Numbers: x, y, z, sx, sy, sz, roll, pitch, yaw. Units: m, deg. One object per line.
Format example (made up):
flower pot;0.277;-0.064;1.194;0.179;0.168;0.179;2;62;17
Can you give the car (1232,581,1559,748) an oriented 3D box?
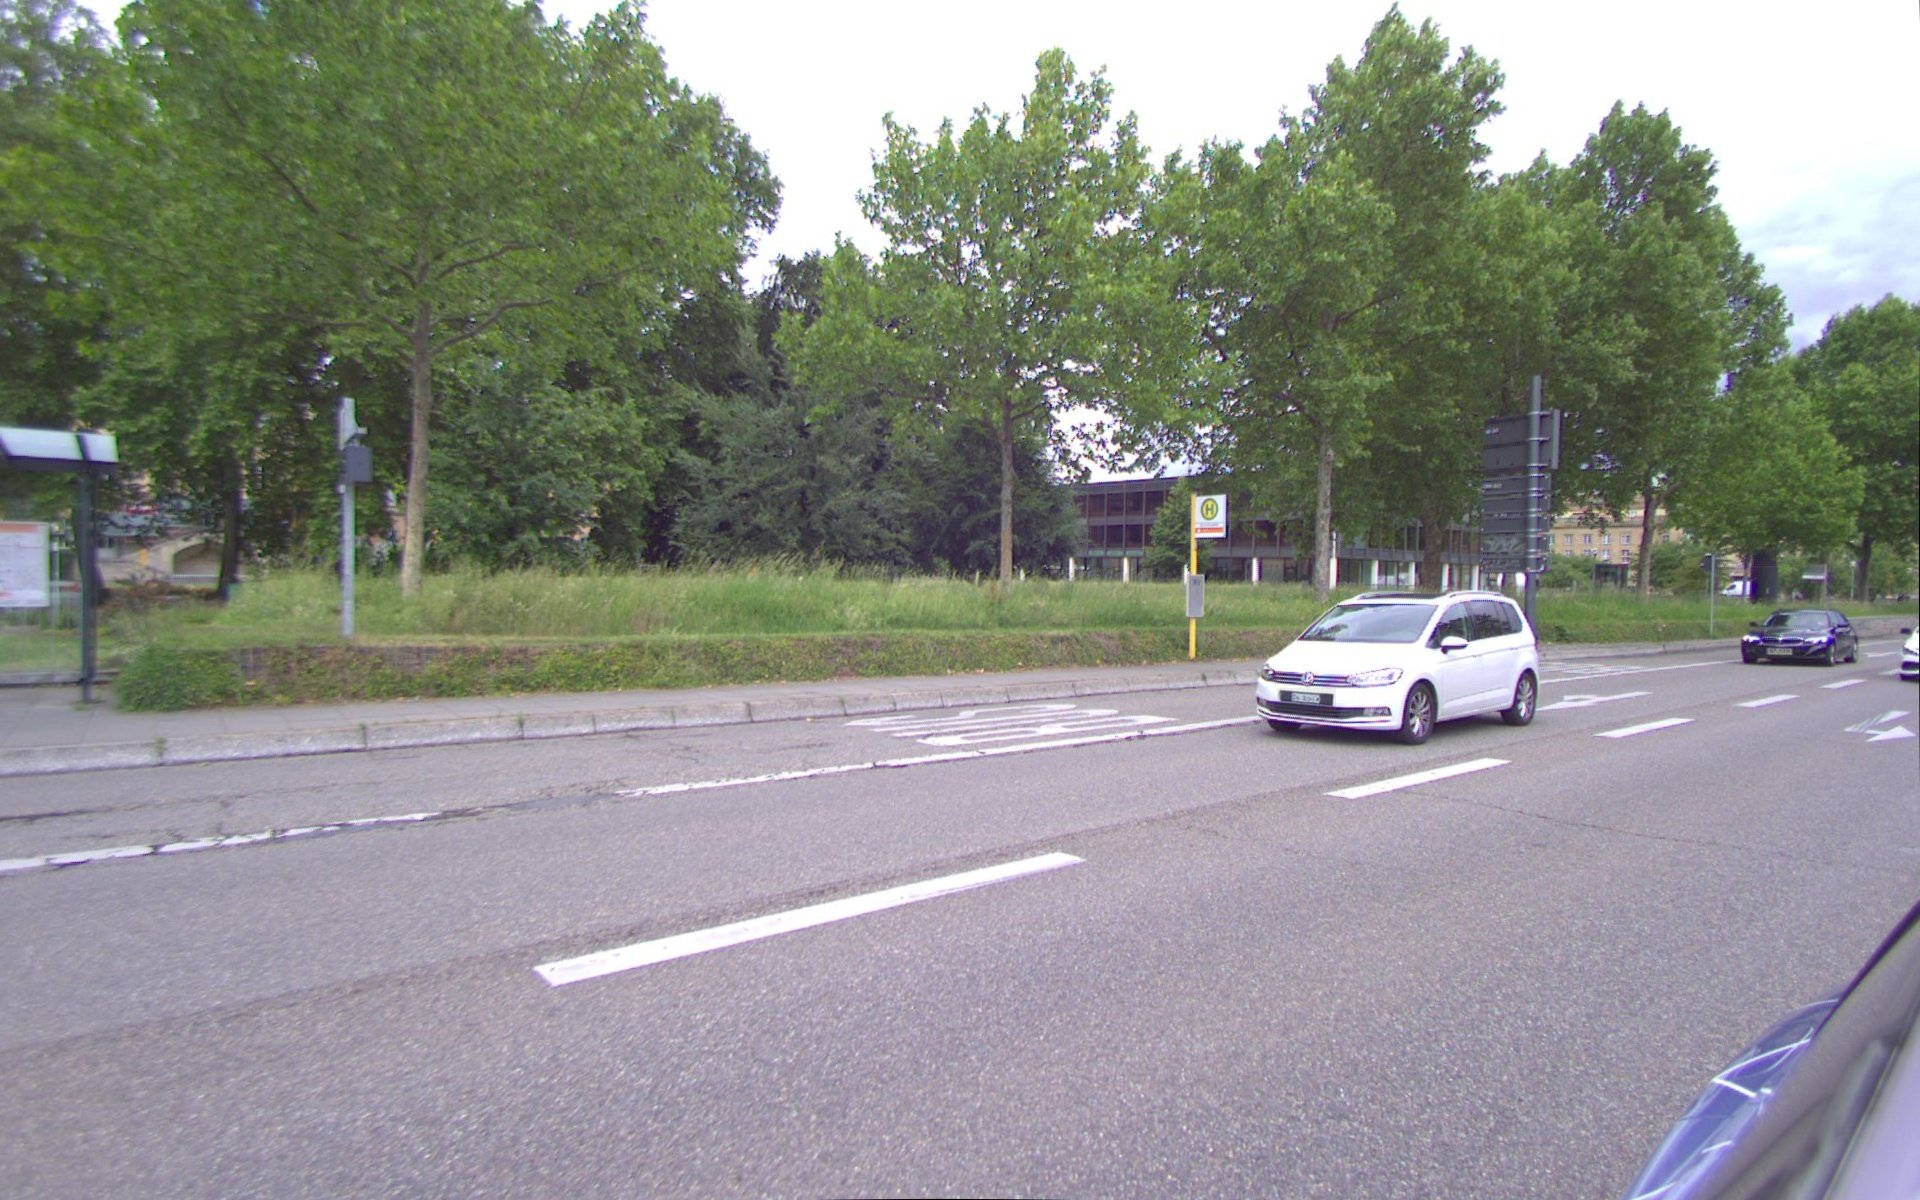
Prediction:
car;5.383;0.633;12.279;4.228;1.660;1.997;0;1;-41

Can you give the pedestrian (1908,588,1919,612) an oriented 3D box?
pedestrian;79.767;-0.015;84.384;1.160;2.039;0.891;0;0;-40

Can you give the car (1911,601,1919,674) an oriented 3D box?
car;21.348;0.761;21.000;4.446;1.437;1.798;0;1;-39

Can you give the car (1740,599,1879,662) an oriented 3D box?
car;22.188;0.721;26.394;4.445;1.478;1.936;-1;0;-39
